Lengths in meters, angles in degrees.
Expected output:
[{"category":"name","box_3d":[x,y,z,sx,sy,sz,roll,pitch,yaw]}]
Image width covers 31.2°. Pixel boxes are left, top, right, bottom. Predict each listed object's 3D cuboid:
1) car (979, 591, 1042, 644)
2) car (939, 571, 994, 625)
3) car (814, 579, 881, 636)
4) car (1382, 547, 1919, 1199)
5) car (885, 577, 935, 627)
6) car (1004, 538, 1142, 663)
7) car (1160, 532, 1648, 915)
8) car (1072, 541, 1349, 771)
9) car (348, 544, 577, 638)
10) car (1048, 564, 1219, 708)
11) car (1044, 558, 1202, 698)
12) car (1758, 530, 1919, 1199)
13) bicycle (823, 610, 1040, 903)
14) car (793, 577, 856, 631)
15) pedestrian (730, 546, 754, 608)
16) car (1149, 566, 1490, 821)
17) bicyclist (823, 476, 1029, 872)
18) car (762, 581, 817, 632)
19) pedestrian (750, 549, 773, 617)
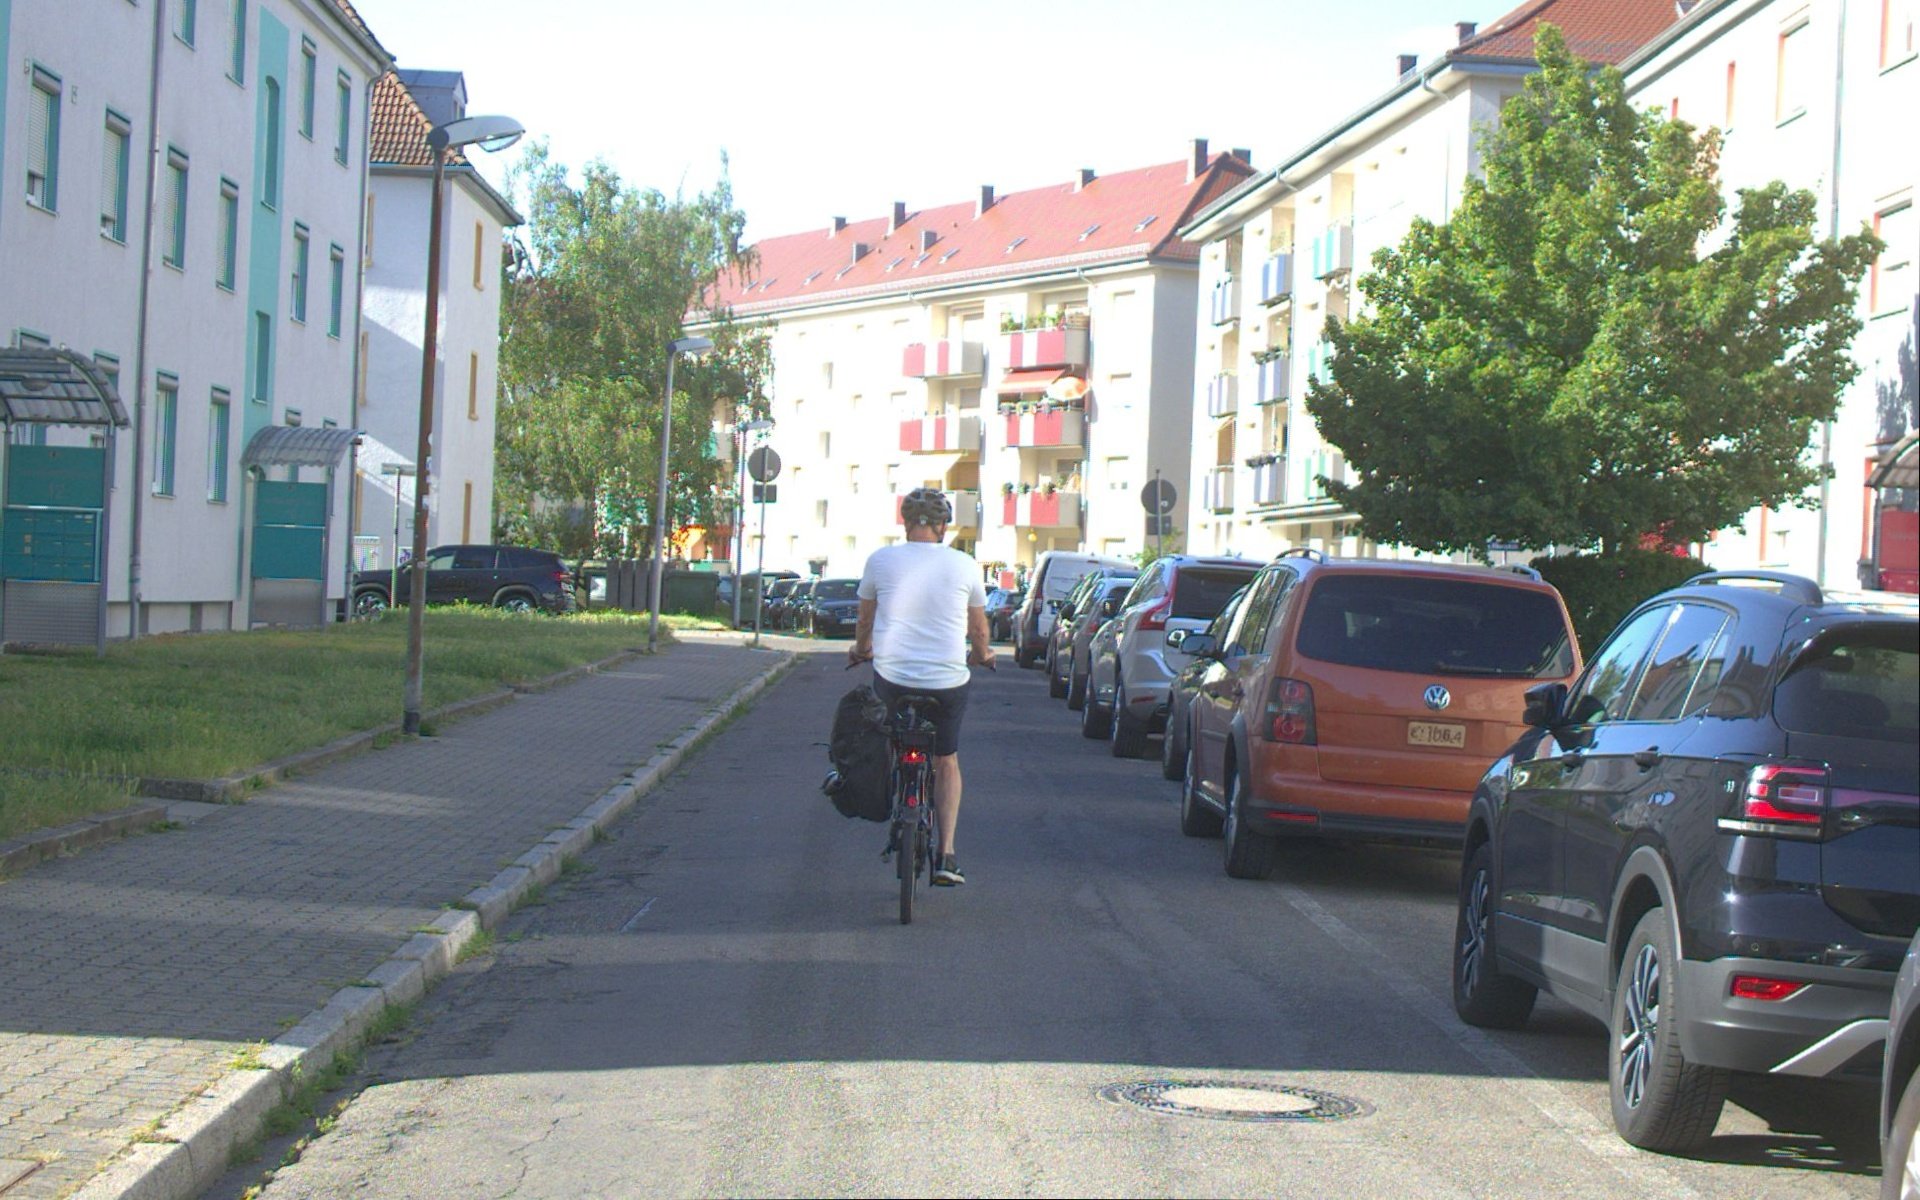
[{"category":"car","box_3d":[1.372,0.471,94.841,1.469,1.331,3.141,3,1,-3]},{"category":"car","box_3d":[0.176,-0.070,101.719,1.381,1.492,3.077,3,1,-3]},{"category":"car","box_3d":[-2.800,0.170,85.266,1.469,1.331,3.141,-1,1,-5]},{"category":"car","box_3d":[2.524,0.707,10.496,1.712,1.590,4.398,5,1,-1]},{"category":"car","box_3d":[-1.691,0.051,114.406,1.469,1.511,3.077,3,1,-3]},{"category":"car","box_3d":[1.678,-0.029,52.247,1.674,1.733,3.943,3,1,-3]},{"category":"car","box_3d":[2.200,0.557,18.156,1.862,1.662,4.127,4,0,-1]},{"category":"car","box_3d":[2.009,0.399,28.741,1.700,1.665,4.380,4,1,-3]},{"category":"car","box_3d":[-9.585,-0.186,66.454,4.230,1.633,1.583,2,1,-5]},{"category":"car","box_3d":[1.867,0.358,37.996,1.559,1.406,3.933,3,1,-1]},{"category":"car","box_3d":[2.002,0.315,42.899,1.558,1.571,3.366,3,1,-3]},{"category":"car","box_3d":[2.742,0.768,5.169,1.750,1.612,4.452,5,1,-3]},{"category":"bicycle","box_3d":[-0.156,0.630,14.810,0.808,1.124,2.102,1,1,-3]},{"category":"car","box_3d":[-3.553,0.097,89.631,1.469,1.331,3.141,-1,1,-5]},{"category":"pedestrian","box_3d":[-5.150,-0.544,81.246,0.434,1.422,0.543,4,1,-1]},{"category":"car","box_3d":[2.378,0.574,23.615,1.617,1.455,3.841,5,1,-3]},{"category":"bicyclist","box_3d":[-0.160,0.306,14.822,0.808,1.638,0.899,1,1,-3]},{"category":"car","box_3d":[-4.784,0.172,96.269,1.469,1.331,3.141,-1,1,-4]},{"category":"pedestrian","box_3d":[-4.697,-0.399,81.376,0.434,1.569,0.543,4,1,-1]}]
